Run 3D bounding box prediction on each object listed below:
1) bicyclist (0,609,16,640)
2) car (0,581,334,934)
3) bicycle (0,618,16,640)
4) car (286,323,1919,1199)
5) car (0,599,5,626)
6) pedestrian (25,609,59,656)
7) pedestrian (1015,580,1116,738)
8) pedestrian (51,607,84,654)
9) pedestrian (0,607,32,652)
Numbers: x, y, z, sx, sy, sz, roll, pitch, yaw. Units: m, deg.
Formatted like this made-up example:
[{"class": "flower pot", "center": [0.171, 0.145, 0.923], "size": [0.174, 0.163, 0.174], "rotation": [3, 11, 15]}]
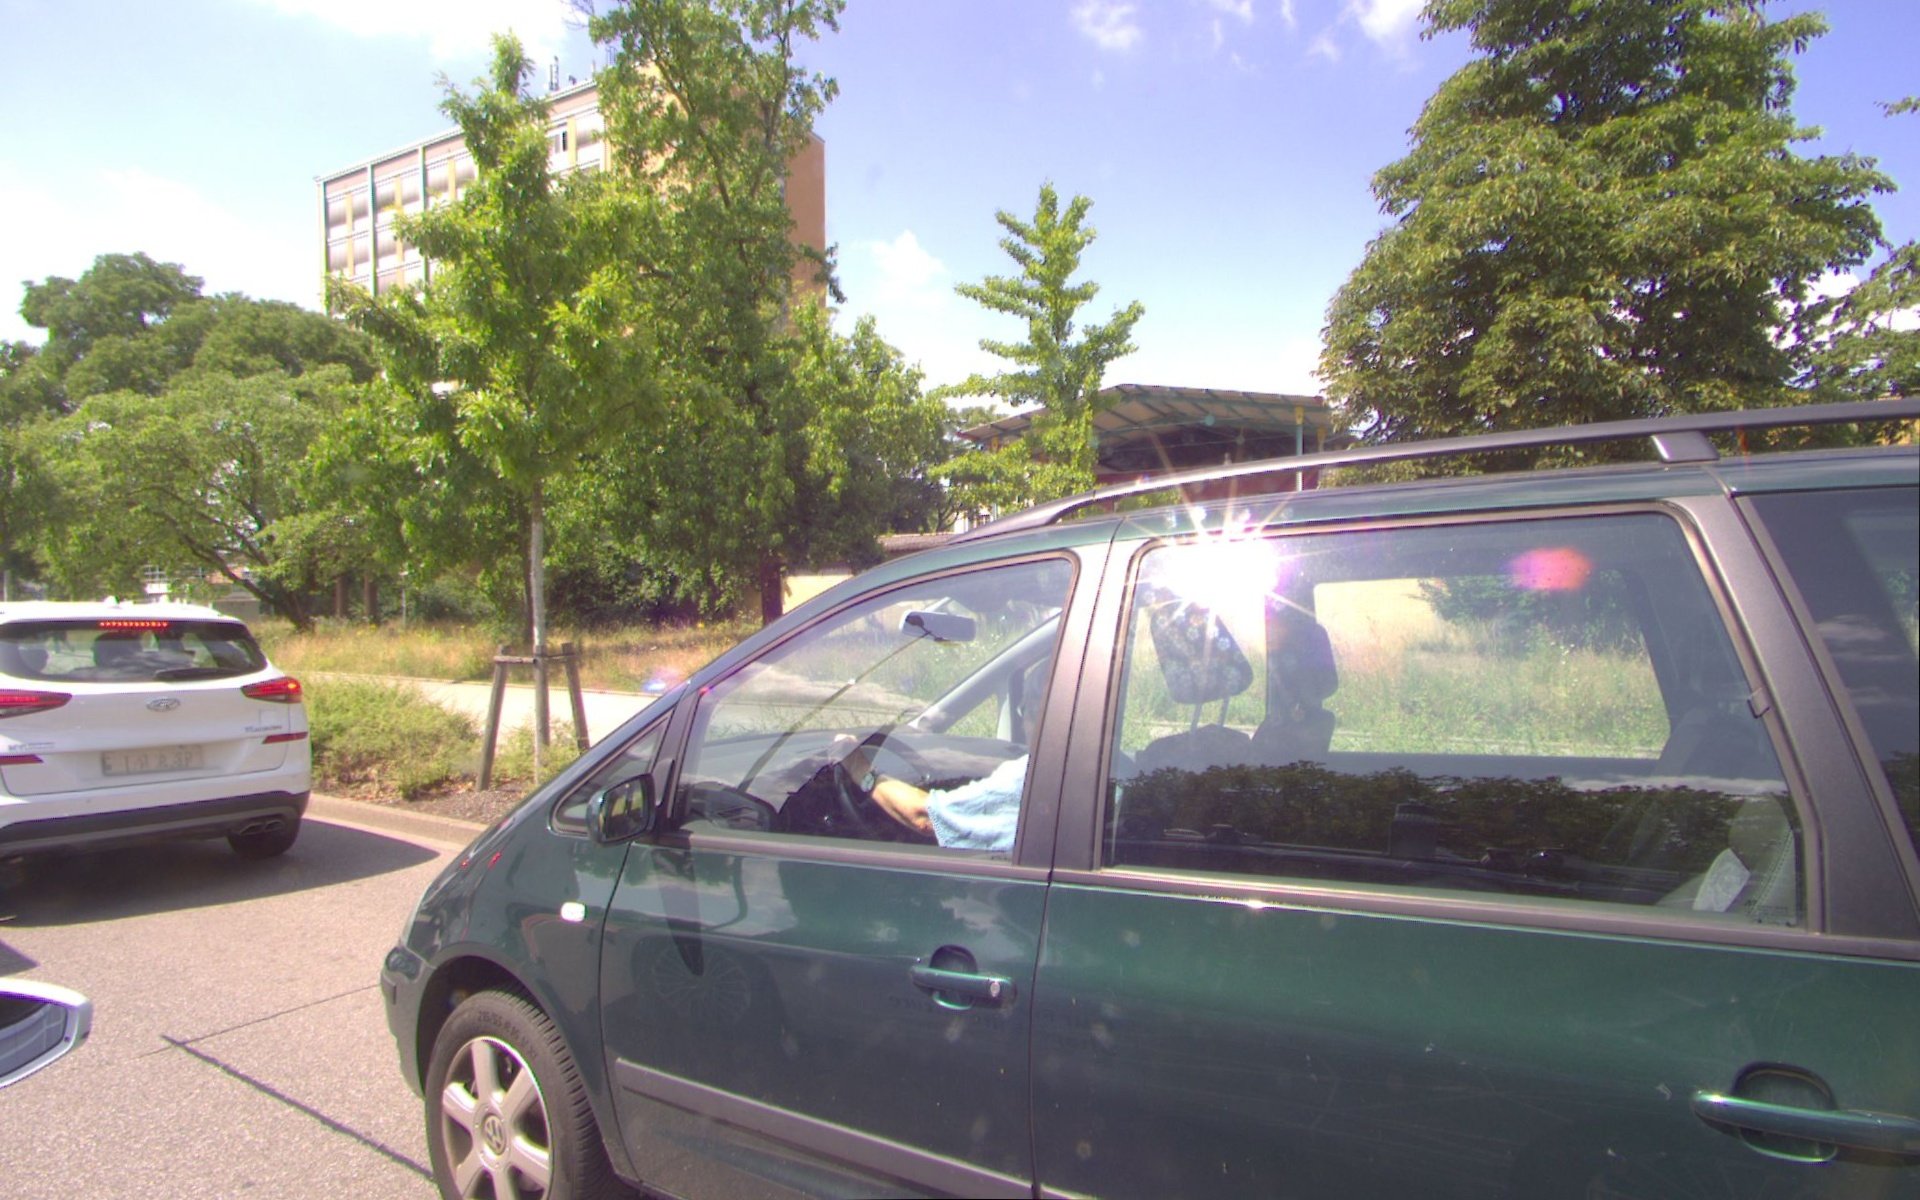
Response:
[{"class": "bicyclist", "center": [-68.646, 1.731, 71.725], "size": [1.422, 2.200, 1.326], "rotation": [-1, 1, -43]}, {"class": "car", "center": [-5.922, 0.774, 6.416], "size": [3.919, 1.700, 1.810], "rotation": [0, 0, 34]}, {"class": "bicycle", "center": [-68.631, 2.069, 71.681], "size": [1.415, 1.483, 4.270], "rotation": [0, 0, -42]}, {"class": "car", "center": [0.523, 0.636, 2.289], "size": [4.329, 1.737, 1.799], "rotation": [0, -2, 32]}, {"class": "car", "center": [-99.617, 1.210, 99.666], "size": [2.447, 2.751, 7.088], "rotation": [0, -2, -1]}, {"class": "pedestrian", "center": [-33.406, 1.181, 36.431], "size": [0.805, 1.677, 0.756], "rotation": [0, 1, 36]}, {"class": "pedestrian", "center": [1.118, 0.596, 10.551], "size": [0.805, 1.578, 0.756], "rotation": [0, 1, 34]}, {"class": "pedestrian", "center": [-35.750, 1.204, 40.109], "size": [0.803, 1.874, 0.758], "rotation": [0, 1, 28]}, {"class": "pedestrian", "center": [-39.848, 1.215, 42.226], "size": [0.802, 1.874, 0.759], "rotation": [0, 1, 22]}]
